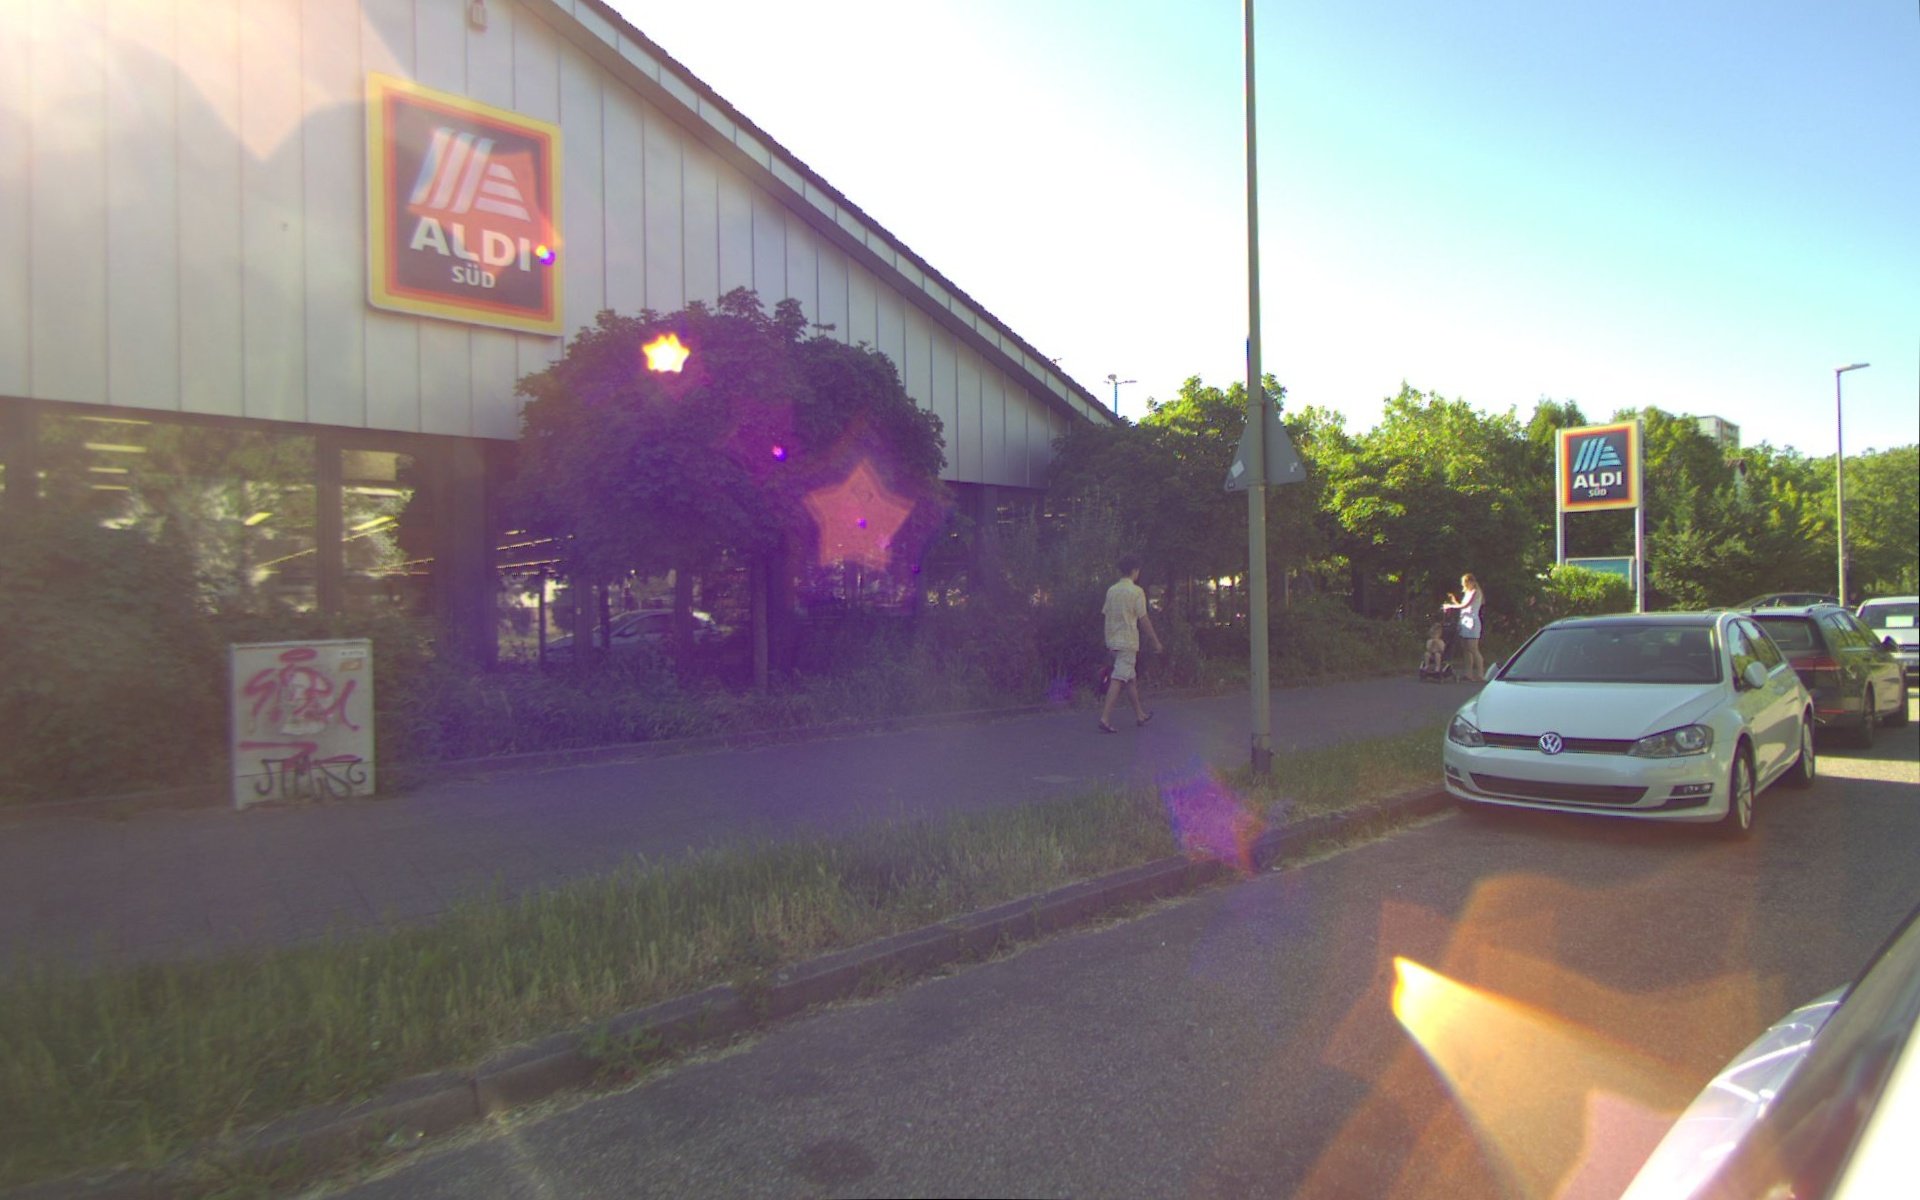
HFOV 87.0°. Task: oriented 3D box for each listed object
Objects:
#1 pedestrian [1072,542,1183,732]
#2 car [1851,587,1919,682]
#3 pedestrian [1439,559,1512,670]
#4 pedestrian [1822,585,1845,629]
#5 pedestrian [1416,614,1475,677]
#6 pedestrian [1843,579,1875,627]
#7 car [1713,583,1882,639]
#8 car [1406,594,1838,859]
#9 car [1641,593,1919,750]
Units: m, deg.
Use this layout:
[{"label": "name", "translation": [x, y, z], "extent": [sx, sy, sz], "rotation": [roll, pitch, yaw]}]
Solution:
[{"label": "pedestrian", "translation": [1.761, 0.364, 10.624], "extent": [0.793, 1.885, 0.861], "rotation": [-1, -1, 42]}, {"label": "car", "translation": [17.885, 0.570, 18.815], "extent": [3.962, 1.619, 1.680], "rotation": [-1, 0, -44]}, {"label": "pedestrian", "translation": [8.704, 0.232, 17.095], "extent": [0.793, 1.804, 0.801], "rotation": [0, -1, -32]}, {"label": "pedestrian", "translation": [33.226, 0.249, 38.483], "extent": [0.779, 1.629, 0.573], "rotation": [-2, 2, -44]}, {"label": "pedestrian", "translation": [7.985, 0.733, 16.642], "extent": [0.794, 0.993, 0.534], "rotation": [0, -1, -33]}, {"label": "pedestrian", "translation": [33.693, 0.109, 37.918], "extent": [0.968, 1.738, 0.804], "rotation": [-2, 2, -44]}, {"label": "car", "translation": [26.280, 0.327, 31.932], "extent": [3.716, 1.666, 1.840], "rotation": [0, 0, 25]}, {"label": "car", "translation": [5.210, 0.718, 7.762], "extent": [3.932, 1.470, 1.828], "rotation": [-1, 0, -42]}, {"label": "car", "translation": [9.539, 0.669, 11.582], "extent": [4.286, 1.462, 1.810], "rotation": [0, -1, -41]}]
